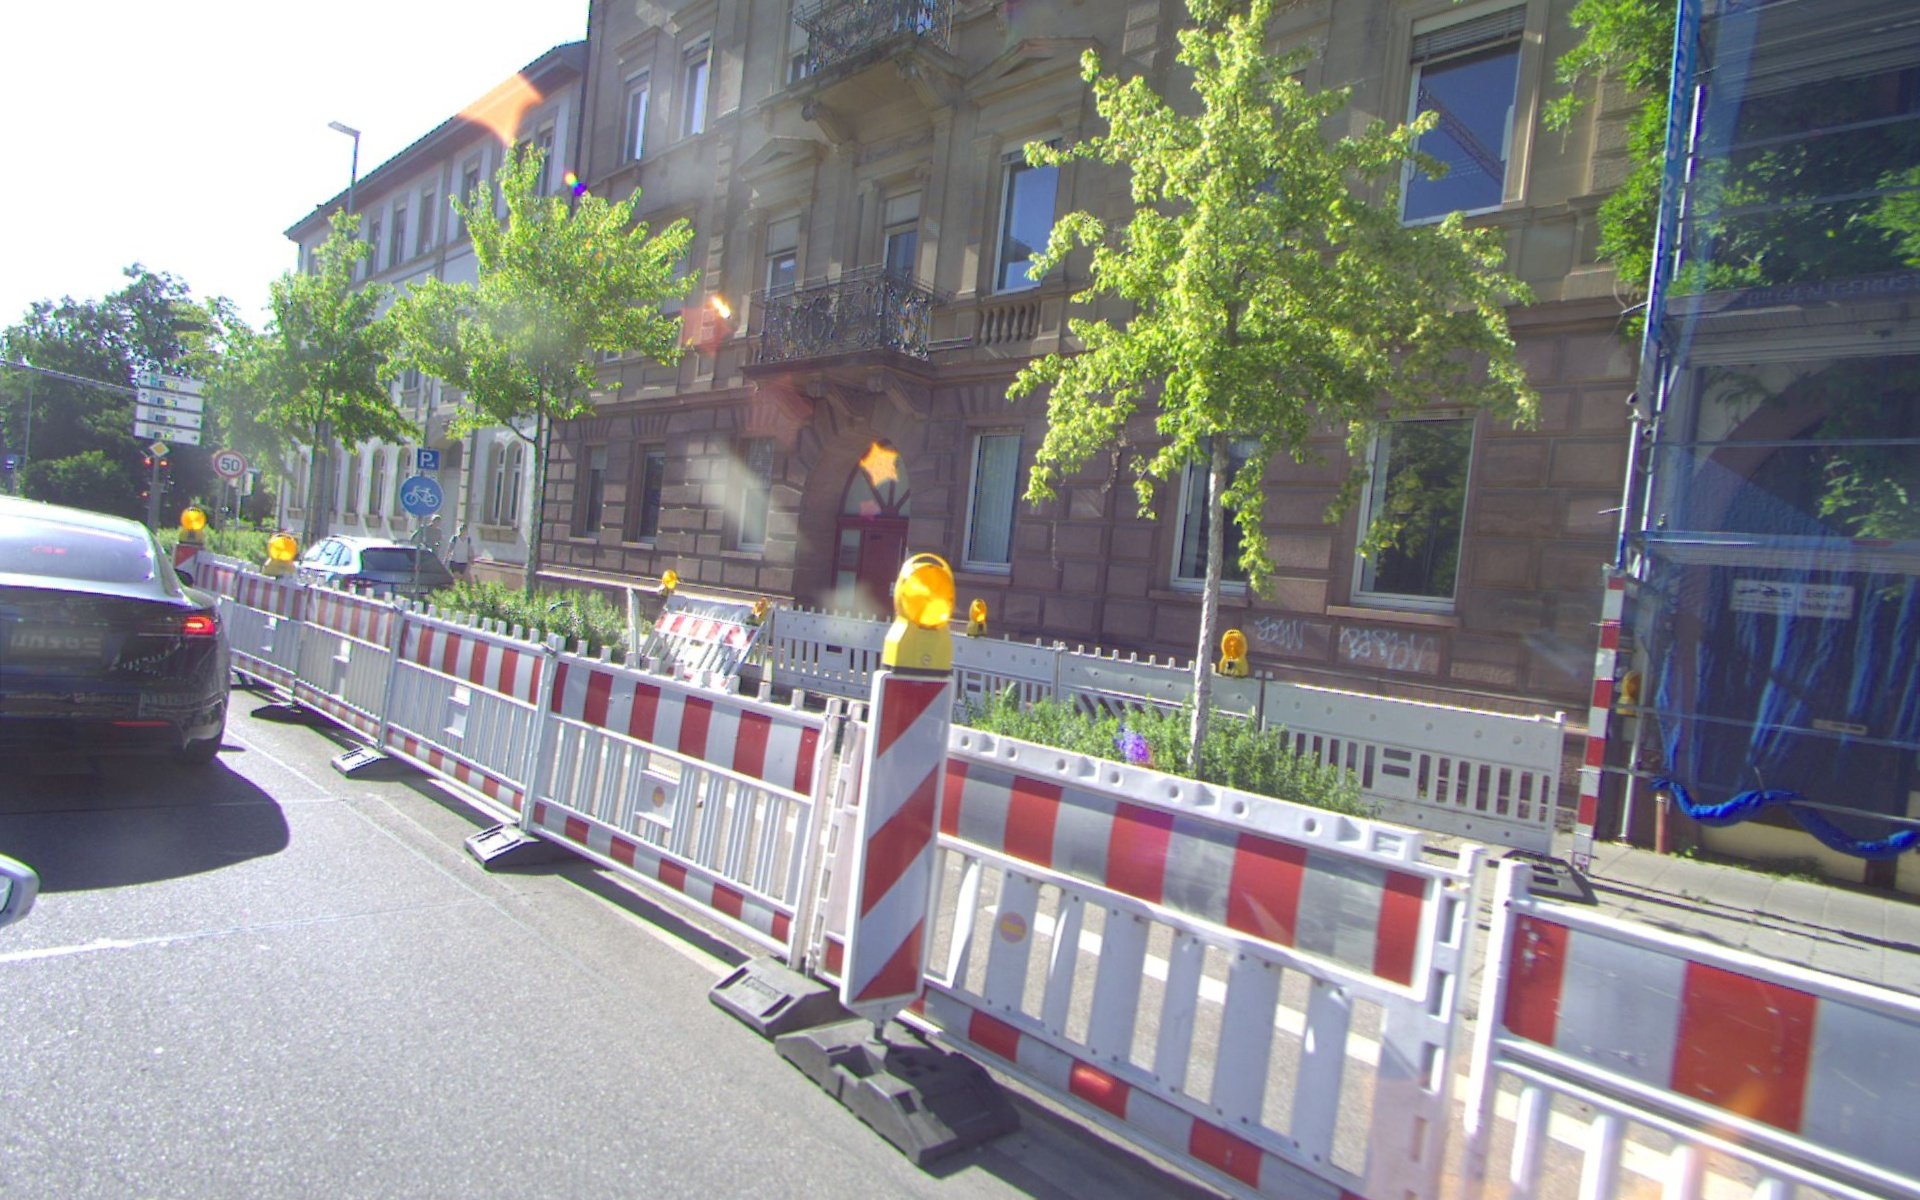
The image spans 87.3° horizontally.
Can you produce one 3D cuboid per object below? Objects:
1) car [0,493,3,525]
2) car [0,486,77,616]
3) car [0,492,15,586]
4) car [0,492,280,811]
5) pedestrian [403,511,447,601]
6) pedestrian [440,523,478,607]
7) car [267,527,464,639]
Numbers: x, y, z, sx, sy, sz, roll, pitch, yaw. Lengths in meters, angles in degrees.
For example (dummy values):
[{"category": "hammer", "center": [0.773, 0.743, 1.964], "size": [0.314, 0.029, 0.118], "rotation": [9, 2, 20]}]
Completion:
[{"category": "car", "center": [-24.456, -2.013, 24.175], "size": [3.797, 1.445, 1.789], "rotation": [6, -1, 42]}, {"category": "car", "center": [-12.934, -0.809, 13.045], "size": [4.774, 1.445, 1.744], "rotation": [7, 0, 44]}, {"category": "car", "center": [-18.035, -1.257, 17.760], "size": [3.952, 1.546, 1.745], "rotation": [7, 0, 45]}, {"category": "car", "center": [-6.036, 0.066, 6.214], "size": [4.464, 1.461, 2.047], "rotation": [7, -1, 44]}, {"category": "pedestrian", "center": [-11.933, -0.986, 22.432], "size": [0.579, 1.940, 0.656], "rotation": [8, 5, 43]}, {"category": "pedestrian", "center": [-11.399, -0.794, 22.889], "size": [0.579, 1.846, 0.561], "rotation": [8, 5, 43]}, {"category": "car", "center": [-10.141, -0.341, 16.979], "size": [4.638, 1.495, 1.642], "rotation": [7, 3, 44]}]
